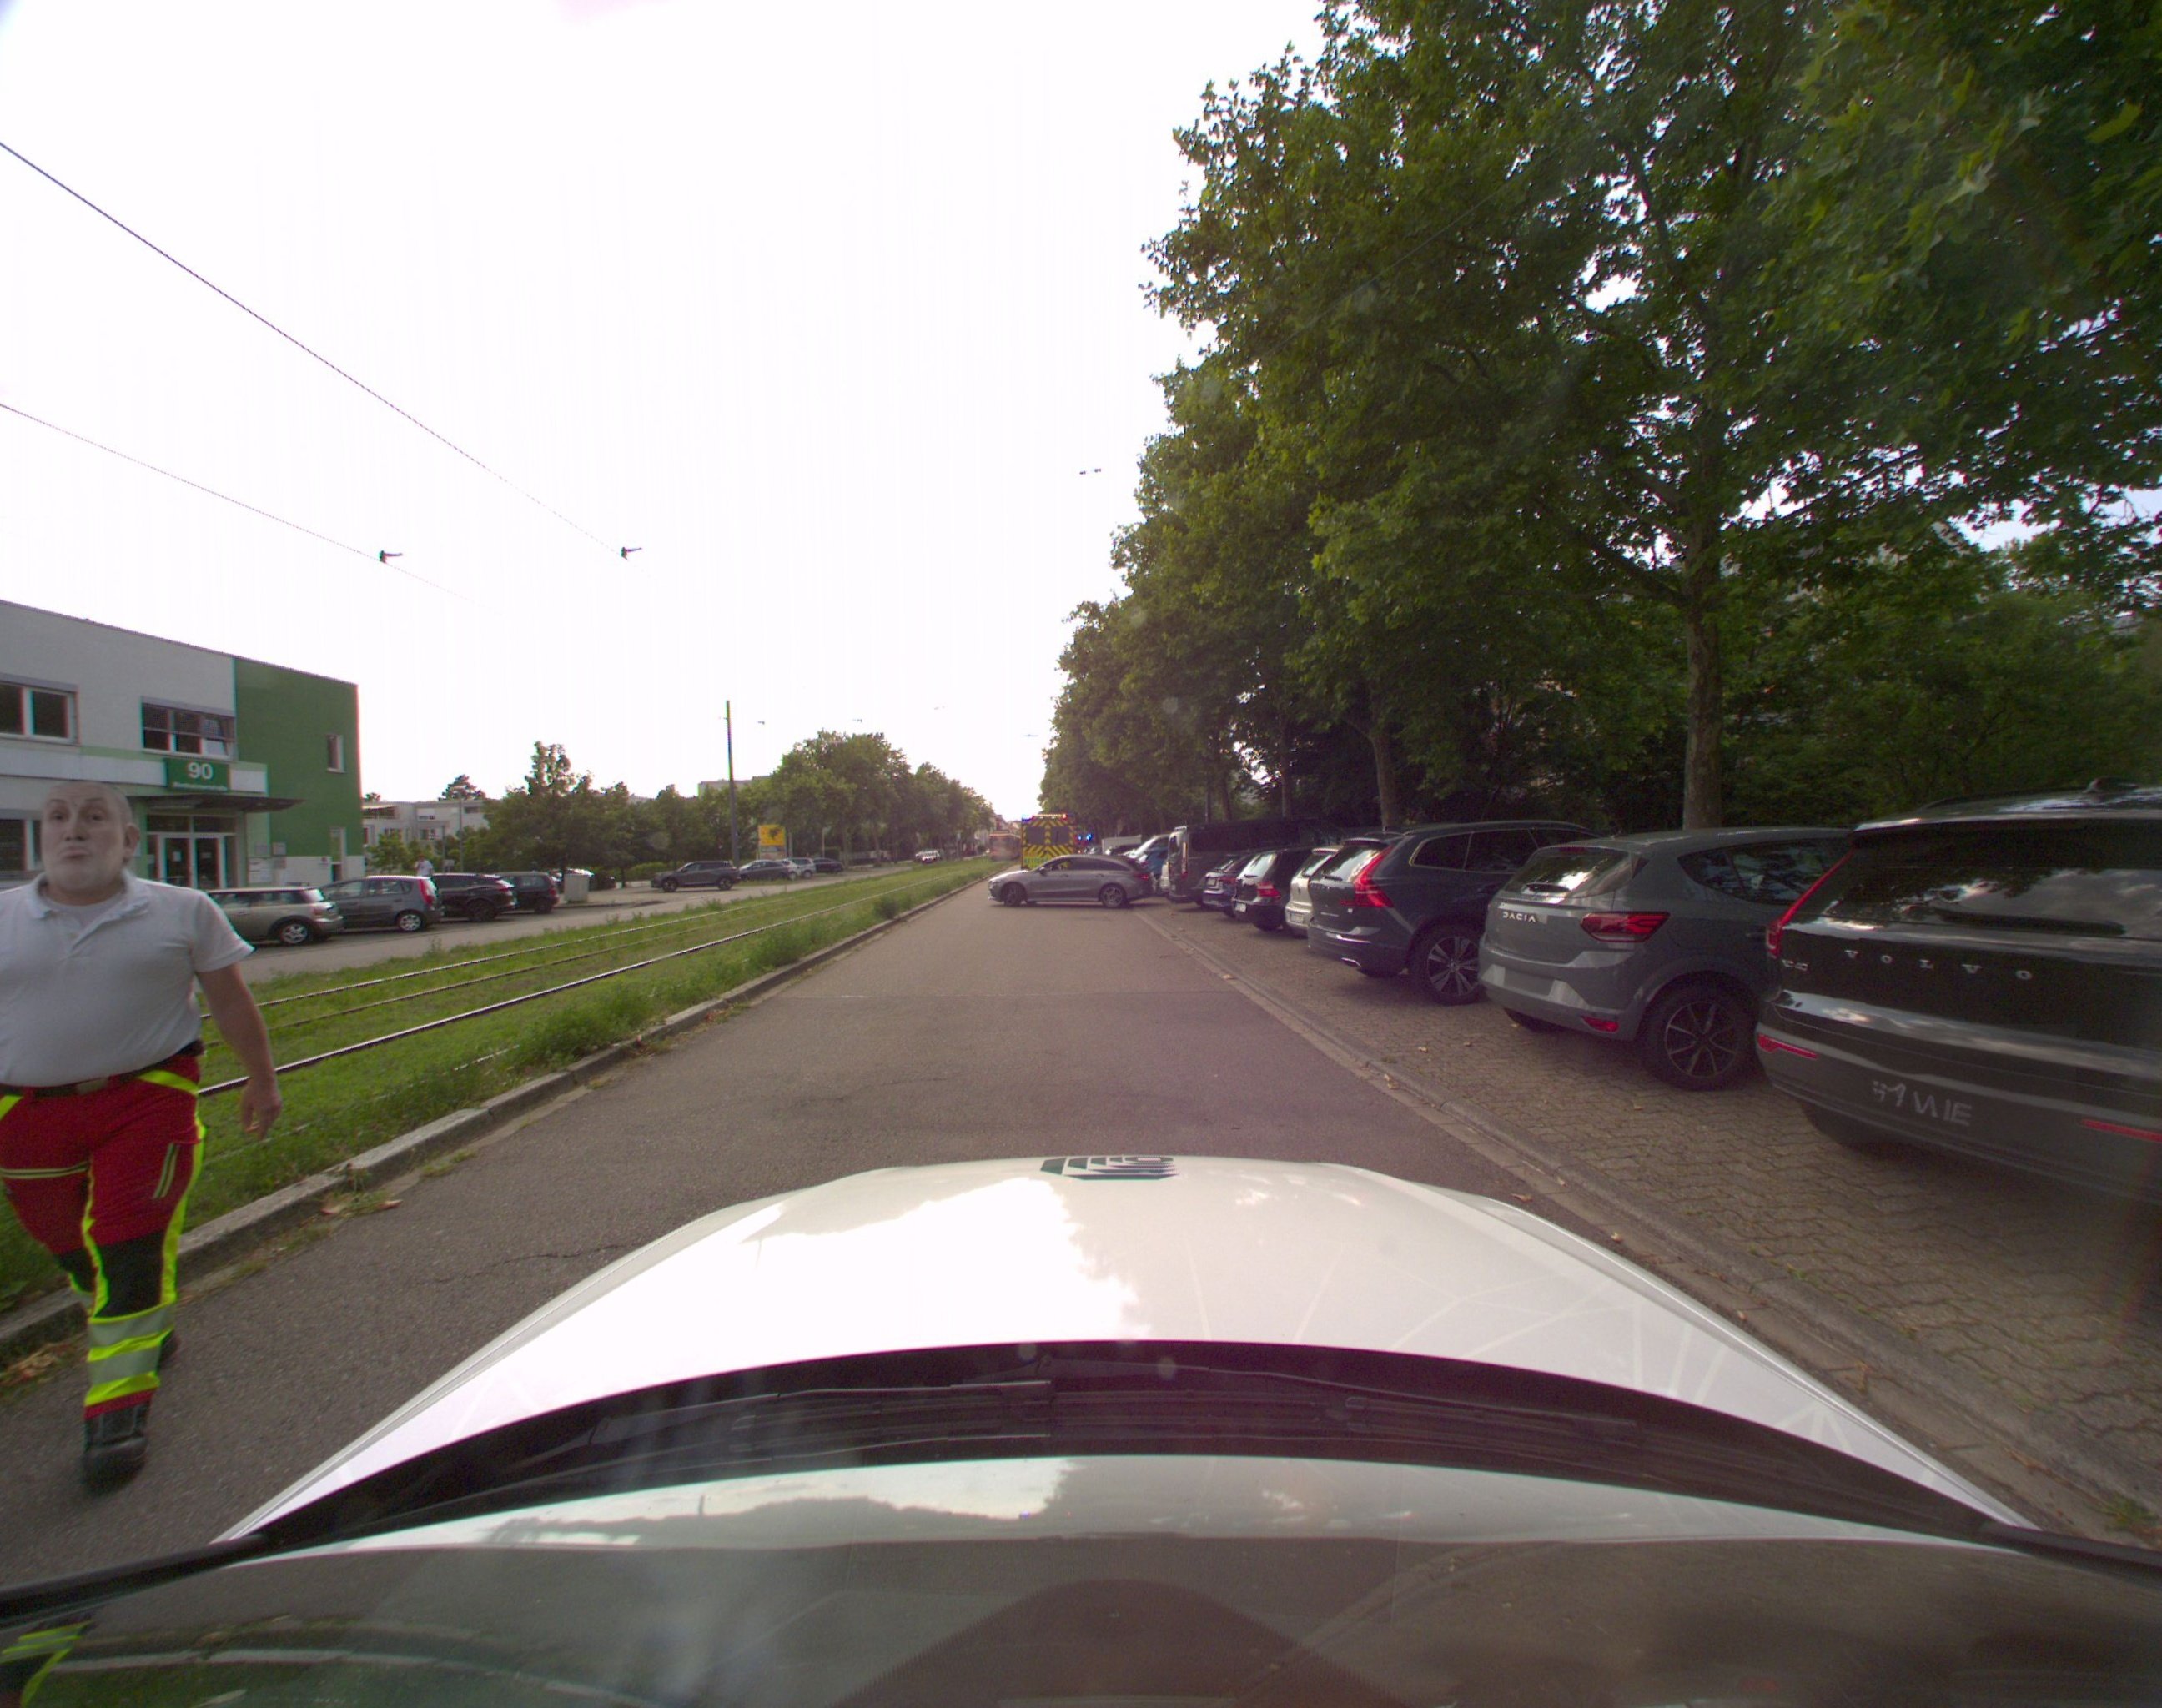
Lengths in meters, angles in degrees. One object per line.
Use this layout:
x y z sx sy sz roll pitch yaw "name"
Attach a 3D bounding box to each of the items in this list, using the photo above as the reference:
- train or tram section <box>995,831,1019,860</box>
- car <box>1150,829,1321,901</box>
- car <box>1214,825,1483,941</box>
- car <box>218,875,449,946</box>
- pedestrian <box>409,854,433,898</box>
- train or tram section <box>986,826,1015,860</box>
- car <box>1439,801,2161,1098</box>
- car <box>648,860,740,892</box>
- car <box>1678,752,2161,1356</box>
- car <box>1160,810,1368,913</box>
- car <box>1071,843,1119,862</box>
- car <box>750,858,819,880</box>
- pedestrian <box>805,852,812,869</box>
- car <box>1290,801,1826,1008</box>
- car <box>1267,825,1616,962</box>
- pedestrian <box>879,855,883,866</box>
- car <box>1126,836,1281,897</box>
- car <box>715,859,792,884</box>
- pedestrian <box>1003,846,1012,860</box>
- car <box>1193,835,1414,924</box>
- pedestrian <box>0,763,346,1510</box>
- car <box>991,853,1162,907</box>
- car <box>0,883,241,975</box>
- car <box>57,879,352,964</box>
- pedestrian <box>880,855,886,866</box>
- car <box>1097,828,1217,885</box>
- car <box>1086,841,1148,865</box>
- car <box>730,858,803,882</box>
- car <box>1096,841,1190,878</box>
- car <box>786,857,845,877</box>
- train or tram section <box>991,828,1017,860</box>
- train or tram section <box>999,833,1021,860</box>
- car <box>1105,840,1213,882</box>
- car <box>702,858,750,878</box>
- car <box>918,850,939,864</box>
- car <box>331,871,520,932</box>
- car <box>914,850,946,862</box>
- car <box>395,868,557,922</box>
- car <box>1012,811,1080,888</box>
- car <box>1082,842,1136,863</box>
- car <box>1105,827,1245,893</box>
-9.582 -1.065 106.126 2.506 3.584 7.437 -3 0 -3 "train or tram section"
4.421 0.299 23.713 4.535 1.766 1.854 -3 0 -3 "car"
4.470 0.428 13.804 3.970 1.605 1.748 -3 0 -13 "car"
-19.889 1.436 21.960 4.250 1.482 1.864 -3 1 -32 "car"
-27.973 0.917 34.522 0.545 1.828 0.508 -2 0 -4 "pedestrian"
-8.959 -1.172 91.276 2.506 3.584 7.437 -3 0 -3 "train or tram section"
5.027 0.510 5.553 4.368 1.501 1.755 -3 1 -1 "car"
-20.183 1.126 42.525 4.245 1.482 1.867 -1 0 -27 "car"
5.128 0.413 3.027 4.653 1.626 1.844 -3 1 -6 "car"
4.341 0.162 19.767 4.535 2.123 1.854 -3 0 -3 "car"
1.348 -0.174 81.522 4.540 1.608 1.852 -3 0 -7 "car"
-21.276 1.043 58.544 4.255 1.482 1.862 -1 0 -38 "car"
-26.853 0.639 80.314 0.465 1.676 0.602 -2 0 -4 "pedestrian"
4.547 0.445 8.238 4.368 1.639 1.755 -3 0 -1 "car"
4.756 0.483 11.117 3.957 1.494 1.754 -3 0 -3 "car"
-25.719 0.828 104.817 0.421 1.473 0.466 -2 0 -7 "pedestrian"
3.884 0.374 26.222 4.542 1.660 1.851 -3 0 -7 "car"
-21.136 1.080 52.599 4.255 1.482 1.862 -1 0 -38 "car"
-7.830 -0.118 86.869 0.879 1.525 0.750 0 -1 -3 "pedestrian"
4.422 0.488 16.583 3.957 1.494 1.754 -3 0 -3 "car"
-2.628 0.639 2.239 0.810 1.686 0.841 -1 0 -38 "pedestrian"
-0.067 0.686 22.467 4.424 1.385 1.772 0 0 11 "car"
-19.779 1.451 15.986 4.255 1.482 1.862 -3 1 -37 "car"
-19.964 1.458 18.874 4.250 1.482 1.864 -3 1 -32 "car"
-25.916 0.814 106.651 0.417 1.414 0.470 -2 0 22 "pedestrian"
3.042 0.096 33.314 4.540 2.043 1.852 -3 0 -7 "car"
2.795 -0.048 63.499 4.540 1.608 1.852 -3 0 -7 "car"
-21.410 1.066 55.506 4.255 1.482 1.862 -1 0 -38 "car"
3.147 0.252 41.951 4.540 1.608 1.852 -3 0 -7 "car"
-21.736 1.035 66.729 4.258 1.482 1.861 -1 0 -42 "car"
-9.274 -1.119 98.694 2.506 3.584 7.437 -3 0 -3 "train or tram section"
-9.883 -1.012 113.556 2.506 3.584 7.437 -3 0 -3 "train or tram section"
3.484 0.302 36.808 4.540 1.608 1.852 -3 0 -7 "car"
-32.933 1.298 75.562 3.949 1.750 2.012 0 0 29 "car"
-18.985 0.318 101.611 1.989 1.557 4.365 -3 1 -3 "car"
-19.931 1.386 25.051 4.250 1.482 1.864 -3 1 -32 "car"
-24.279 0.308 131.161 4.653 1.633 1.861 -3 1 -41 "car"
-20.604 1.351 27.988 4.250 1.482 1.864 -3 1 -32 "car"
-1.394 -0.191 35.130 2.633 2.966 6.297 1 0 -1 "car"
2.496 -0.106 73.339 4.540 1.608 1.852 -3 0 -7 "car"
3.259 0.185 28.729 4.540 2.000 1.852 -3 0 -7 "car"
